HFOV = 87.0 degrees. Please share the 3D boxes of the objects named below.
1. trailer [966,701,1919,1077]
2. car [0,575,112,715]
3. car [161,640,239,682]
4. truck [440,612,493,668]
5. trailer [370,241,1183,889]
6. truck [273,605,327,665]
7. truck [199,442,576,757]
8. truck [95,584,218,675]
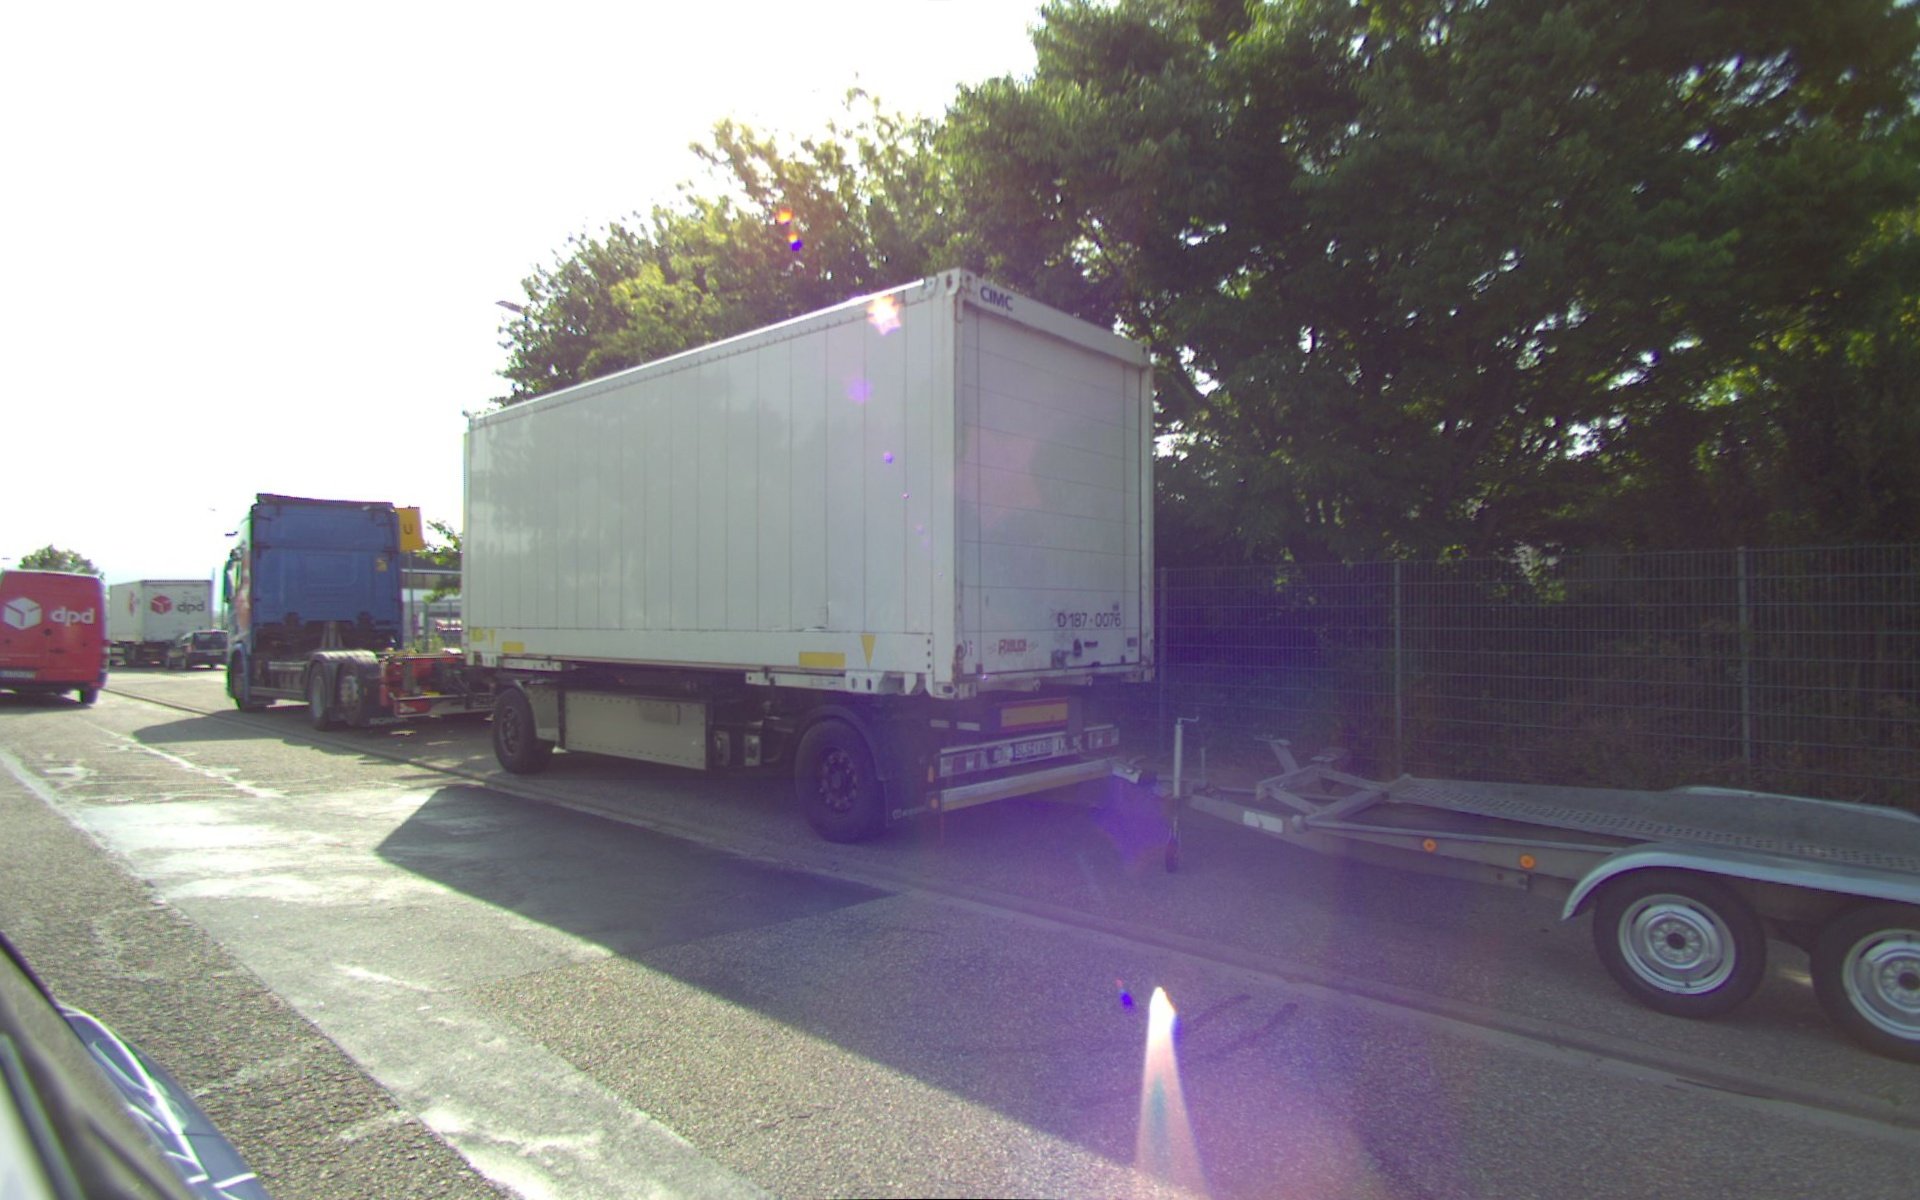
[{"bbox_3d":[3.236,1.159,5.009,6.240,0.993,2.621,-2,-4,41],"label":"trailer"},{"bbox_3d":[-19.795,0.940,21.283,6.988,2.567,1.972,-2,-5,42],"label":"car"},{"bbox_3d":[-31.446,2.498,41.845,4.190,1.604,1.745,-2,-2,41],"label":"car"},{"bbox_3d":[-39.001,3.219,79.732,2.743,4.076,12.390,3,-3,-30],"label":"truck"},{"bbox_3d":[-2.762,-0.103,10.346,9.760,3.914,2.672,-2,-2,41],"label":"trailer"},{"bbox_3d":[-47.619,2.598,73.163,2.613,4.009,9.266,3,-3,-30],"label":"truck"},{"bbox_3d":[-9.952,0.109,16.856,9.635,3.914,2.683,-2,-2,43],"label":"truck"},{"bbox_3d":[-37.928,1.435,47.597,10.059,3.883,2.747,-2,-4,42],"label":"truck"}]
